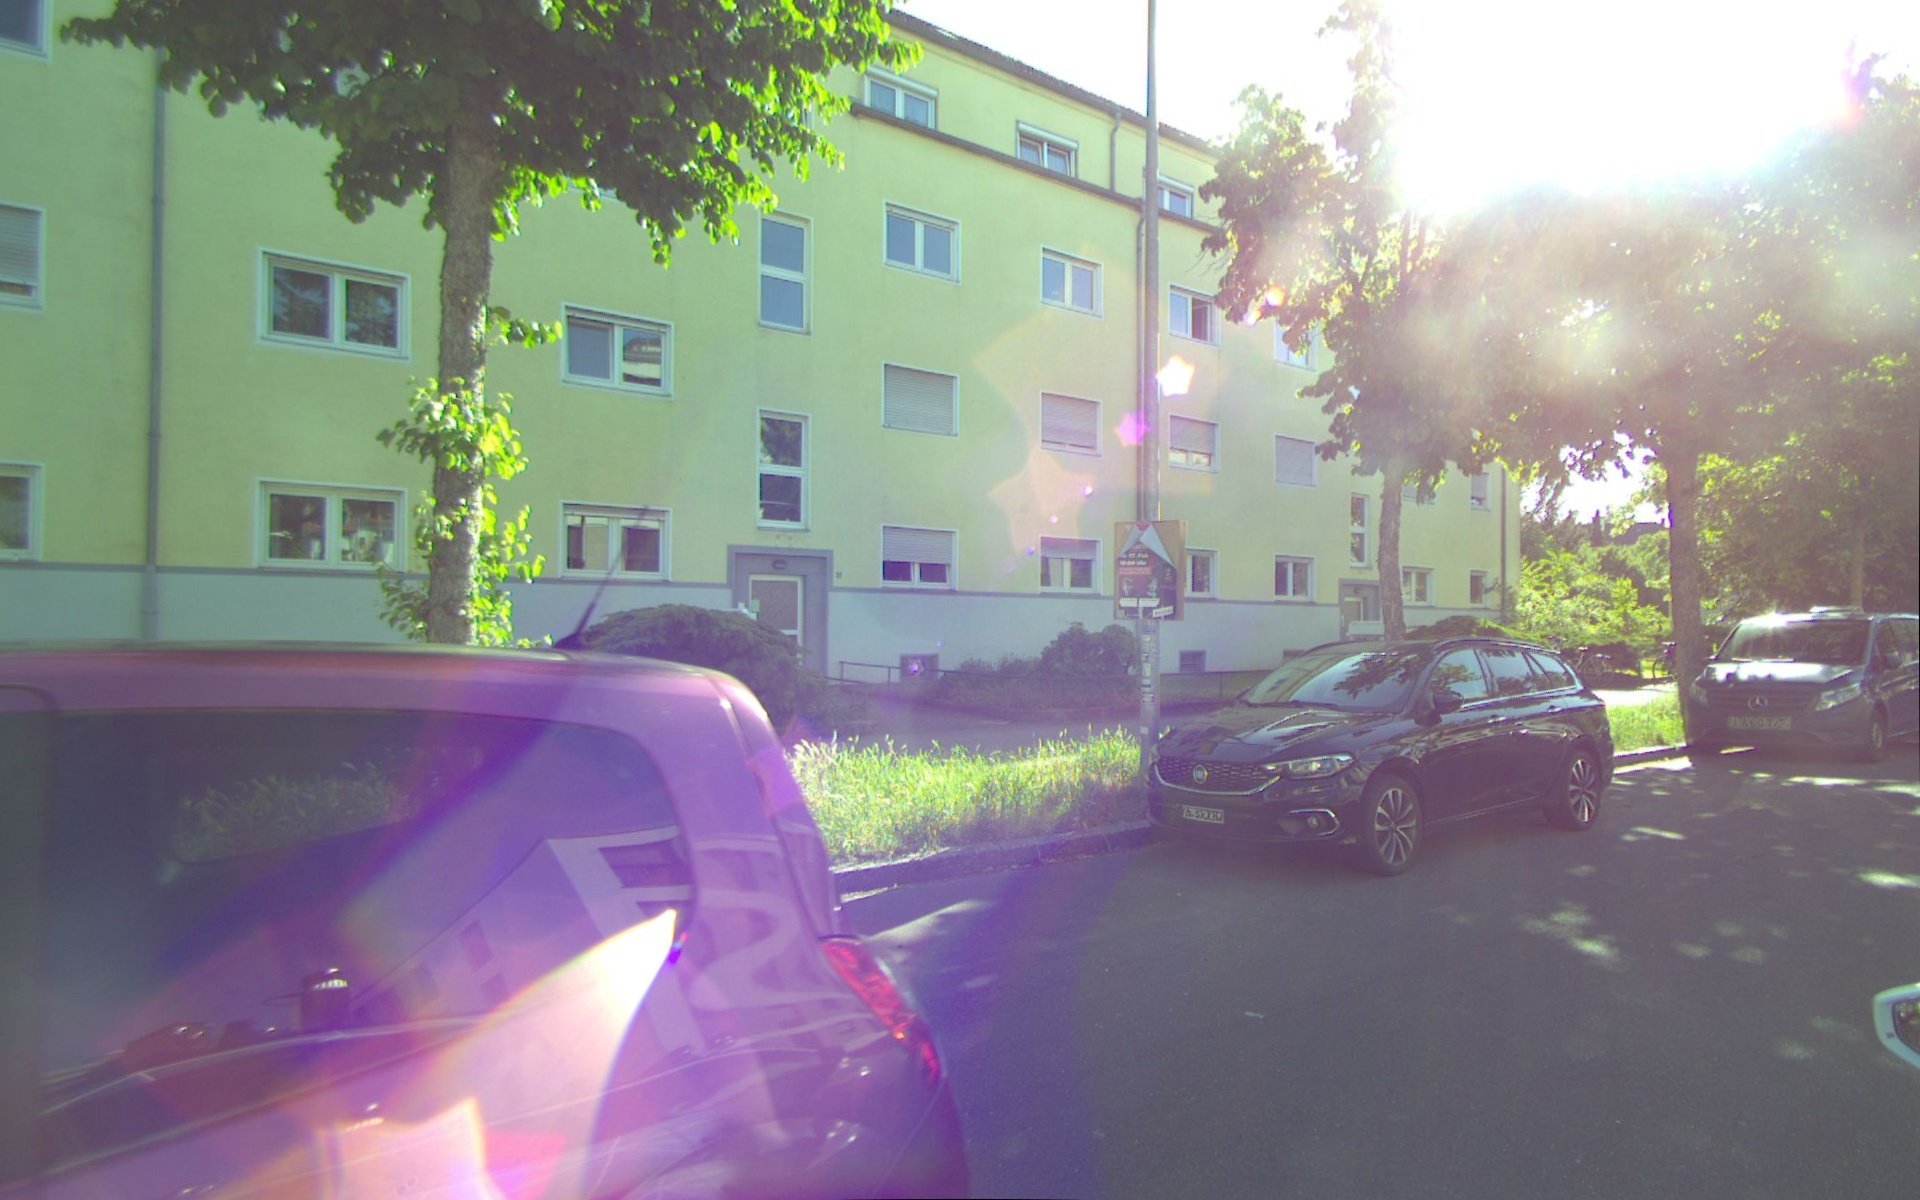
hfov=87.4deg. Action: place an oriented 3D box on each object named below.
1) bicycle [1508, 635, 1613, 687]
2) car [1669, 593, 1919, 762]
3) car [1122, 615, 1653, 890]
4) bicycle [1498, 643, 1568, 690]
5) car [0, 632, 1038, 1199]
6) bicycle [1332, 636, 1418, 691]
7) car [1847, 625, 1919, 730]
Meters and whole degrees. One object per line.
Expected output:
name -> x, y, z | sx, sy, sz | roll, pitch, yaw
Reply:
bicycle -> 14.816, 1.479, 24.825 | 0.686, 1.224, 2.124 | 2, -2, -45
car -> 11.827, 0.977, 13.708 | 5.089, 1.929, 1.815 | 1, -3, -34
car -> 3.492, 0.970, 7.758 | 4.731, 1.568, 1.498 | 2, -4, -35
bicycle -> 12.894, 1.484, 22.584 | 1.908, 1.005, 0.591 | 1, -2, -35
car -> -1.552, 0.767, 1.273 | 3.150, 1.445, 1.494 | 1, -2, -39
bicycle -> 7.996, 1.199, 19.303 | 1.908, 1.005, 0.591 | 1, -2, -35
car -> 16.563, 1.250, 16.939 | 4.191, 1.632, 1.601 | 2, -3, -37
